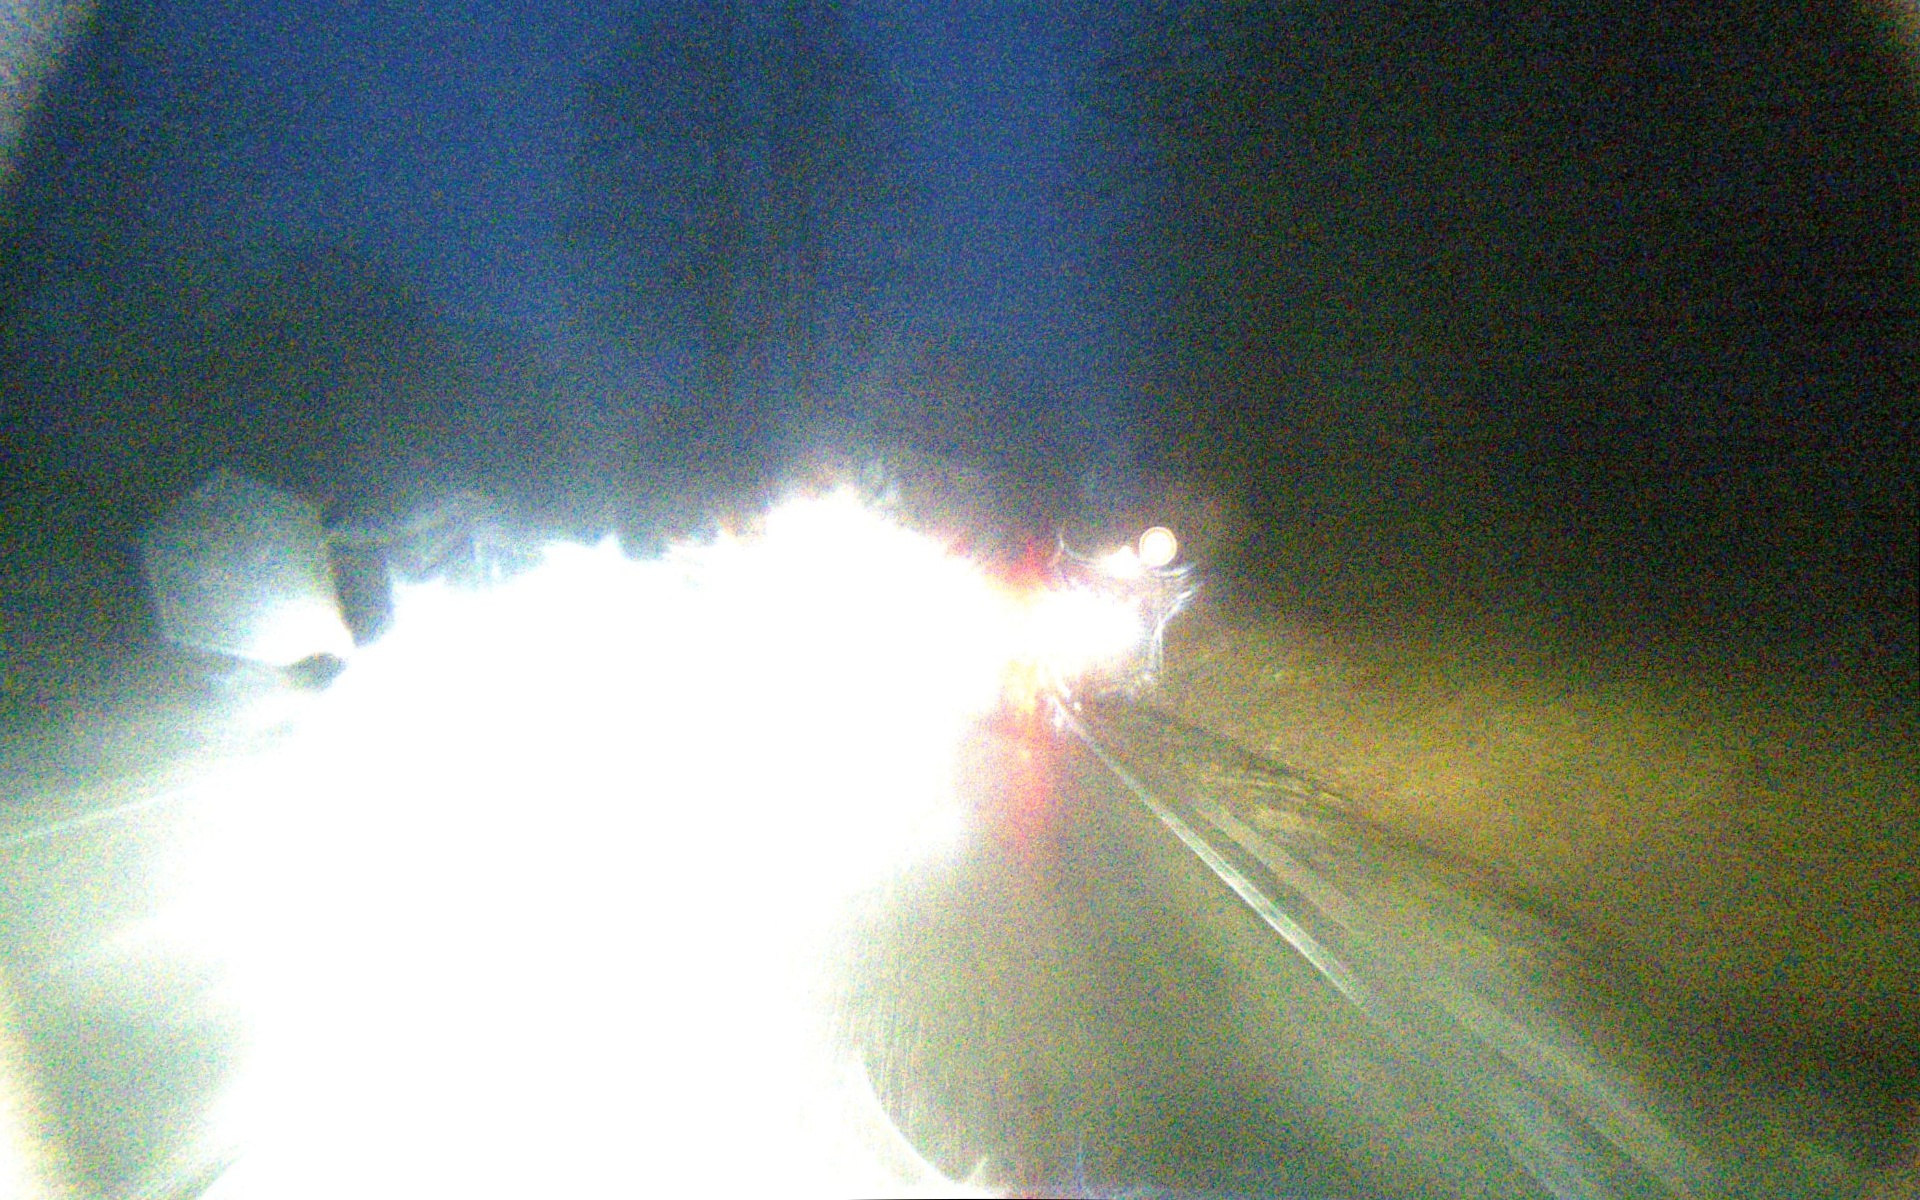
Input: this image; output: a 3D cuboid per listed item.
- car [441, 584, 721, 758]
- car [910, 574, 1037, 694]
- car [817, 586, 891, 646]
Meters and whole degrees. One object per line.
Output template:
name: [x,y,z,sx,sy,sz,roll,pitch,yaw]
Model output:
car: [-3.608,0.593,16.569,1.719,1.430,4.487,2,1,0]
car: [0.219,0.519,27.646,1.953,1.838,3.917,-1,0,0]
car: [-2.949,0.419,46.562,1.728,1.569,4.149,1,1,1]
